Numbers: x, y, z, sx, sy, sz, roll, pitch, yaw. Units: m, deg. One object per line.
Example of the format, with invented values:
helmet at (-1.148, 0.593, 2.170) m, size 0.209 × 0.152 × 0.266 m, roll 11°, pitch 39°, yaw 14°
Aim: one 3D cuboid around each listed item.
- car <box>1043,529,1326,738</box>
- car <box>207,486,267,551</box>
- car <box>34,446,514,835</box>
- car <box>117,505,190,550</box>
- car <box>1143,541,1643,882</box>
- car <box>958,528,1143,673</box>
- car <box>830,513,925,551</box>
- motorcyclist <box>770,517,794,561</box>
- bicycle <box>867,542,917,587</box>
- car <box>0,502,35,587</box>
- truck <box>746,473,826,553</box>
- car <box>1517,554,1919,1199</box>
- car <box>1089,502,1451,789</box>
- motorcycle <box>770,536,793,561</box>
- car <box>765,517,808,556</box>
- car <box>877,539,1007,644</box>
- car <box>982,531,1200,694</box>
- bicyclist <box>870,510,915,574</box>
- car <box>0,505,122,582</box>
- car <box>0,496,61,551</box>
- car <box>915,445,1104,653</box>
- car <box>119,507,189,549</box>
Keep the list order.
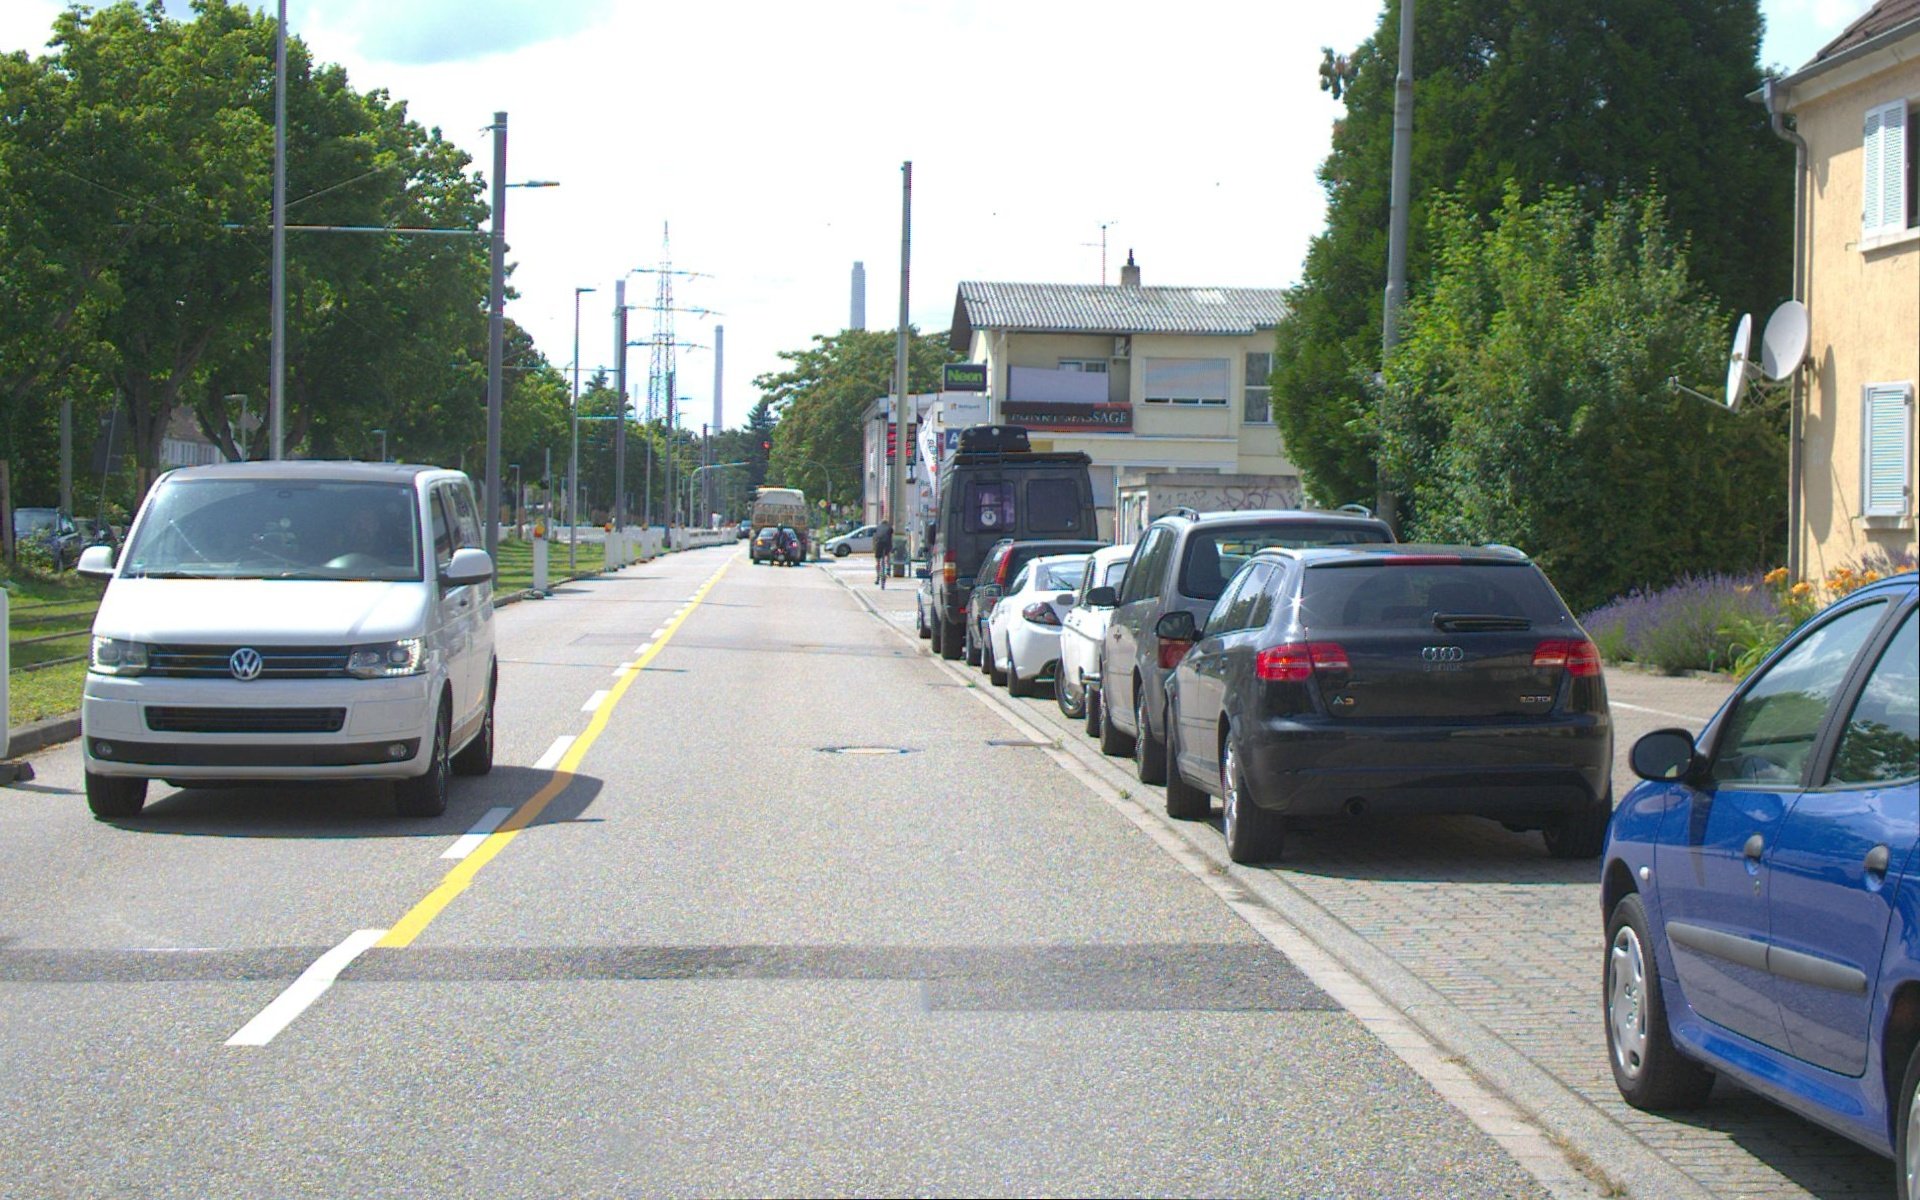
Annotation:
car at (1.668, 0.197, 26.743) m, size 1.763 × 1.471 × 4.001 m, roll -1°, pitch 1°, yaw -2°
car at (-30.881, -3.471, 146.944) m, size 1.878 × 2.737 × 4.399 m, roll 1°, pitch 1°, yaw -4°
car at (-3.832, 0.139, 20.158) m, size 1.928 × 1.952 × 5.377 m, roll -1°, pitch 1°, yaw -2°
car at (-28.949, -2.588, 123.518) m, size 1.878 × 1.547 × 4.399 m, roll 1°, pitch 1°, yaw -4°
car at (1.967, 0.442, 16.747) m, size 1.763 × 1.412 × 4.001 m, roll -1°, pitch 1°, yaw -2°
car at (0.956, -0.036, 38.210) m, size 1.763 × 1.497 × 4.001 m, roll -1°, pitch 1°, yaw -2°
car at (-4.206, -3.478, 174.845) m, size 4.641 × 1.816 × 1.836 m, roll 1°, pitch 1°, yaw -7°
motorcyclist at (-6.852, -2.356, 132.052) m, size 0.883 × 1.661 × 1.109 m, roll 1°, pitch 1°, yaw -3°
bicycle at (-1.687, -0.892, 84.840) m, size 0.994 × 1.045 × 2.813 m, roll 1°, pitch 1°, yaw -5°
car at (-18.421, -1.039, 63.178) m, size 1.878 × 1.547 × 4.379 m, roll 1°, pitch 1°, yaw -3°
truck at (-7.870, -3.846, 154.494) m, size 3.220 × 3.390 × 11.356 m, roll 1°, pitch 1°, yaw -4°
car at (2.491, 0.625, 7.845) m, size 1.620 × 1.412 × 4.001 m, roll -1°, pitch 1°, yaw -2°
car at (1.875, 0.214, 21.905) m, size 1.763 × 1.637 × 4.001 m, roll -1°, pitch 1°, yaw -2°
motorcycle at (-6.875, -1.983, 132.323) m, size 0.883 × 0.921 × 2.616 m, roll 1°, pitch 1°, yaw -3°
car at (-6.951, -2.543, 137.405) m, size 1.568 × 1.493 × 4.149 m, roll 1°, pitch 1°, yaw -4°
car at (-0.310, -0.156, 52.643) m, size 1.763 × 1.497 × 4.001 m, roll -1°, pitch 1°, yaw -3°
car at (1.200, 0.071, 33.035) m, size 1.763 × 1.435 × 4.001 m, roll -1°, pitch 1°, yaw -2°
bicyclist at (-1.680, -1.438, 84.869) m, size 0.994 × 1.564 × 1.140 m, roll 1°, pitch 1°, yaw -5°
car at (-18.972, -1.181, 72.200) m, size 1.878 × 1.547 × 4.399 m, roll 1°, pitch 1°, yaw -3°
car at (-27.795, -2.238, 100.923) m, size 1.878 × 1.547 × 4.399 m, roll 1°, pitch 1°, yaw -3°
car at (0.558, -0.687, 44.287) m, size 1.959 × 2.470 × 6.061 m, roll -1°, pitch 1°, yaw -3°
car at (-30.277, -2.694, 129.281) m, size 1.878 × 1.547 × 4.399 m, roll 1°, pitch 1°, yaw -4°
